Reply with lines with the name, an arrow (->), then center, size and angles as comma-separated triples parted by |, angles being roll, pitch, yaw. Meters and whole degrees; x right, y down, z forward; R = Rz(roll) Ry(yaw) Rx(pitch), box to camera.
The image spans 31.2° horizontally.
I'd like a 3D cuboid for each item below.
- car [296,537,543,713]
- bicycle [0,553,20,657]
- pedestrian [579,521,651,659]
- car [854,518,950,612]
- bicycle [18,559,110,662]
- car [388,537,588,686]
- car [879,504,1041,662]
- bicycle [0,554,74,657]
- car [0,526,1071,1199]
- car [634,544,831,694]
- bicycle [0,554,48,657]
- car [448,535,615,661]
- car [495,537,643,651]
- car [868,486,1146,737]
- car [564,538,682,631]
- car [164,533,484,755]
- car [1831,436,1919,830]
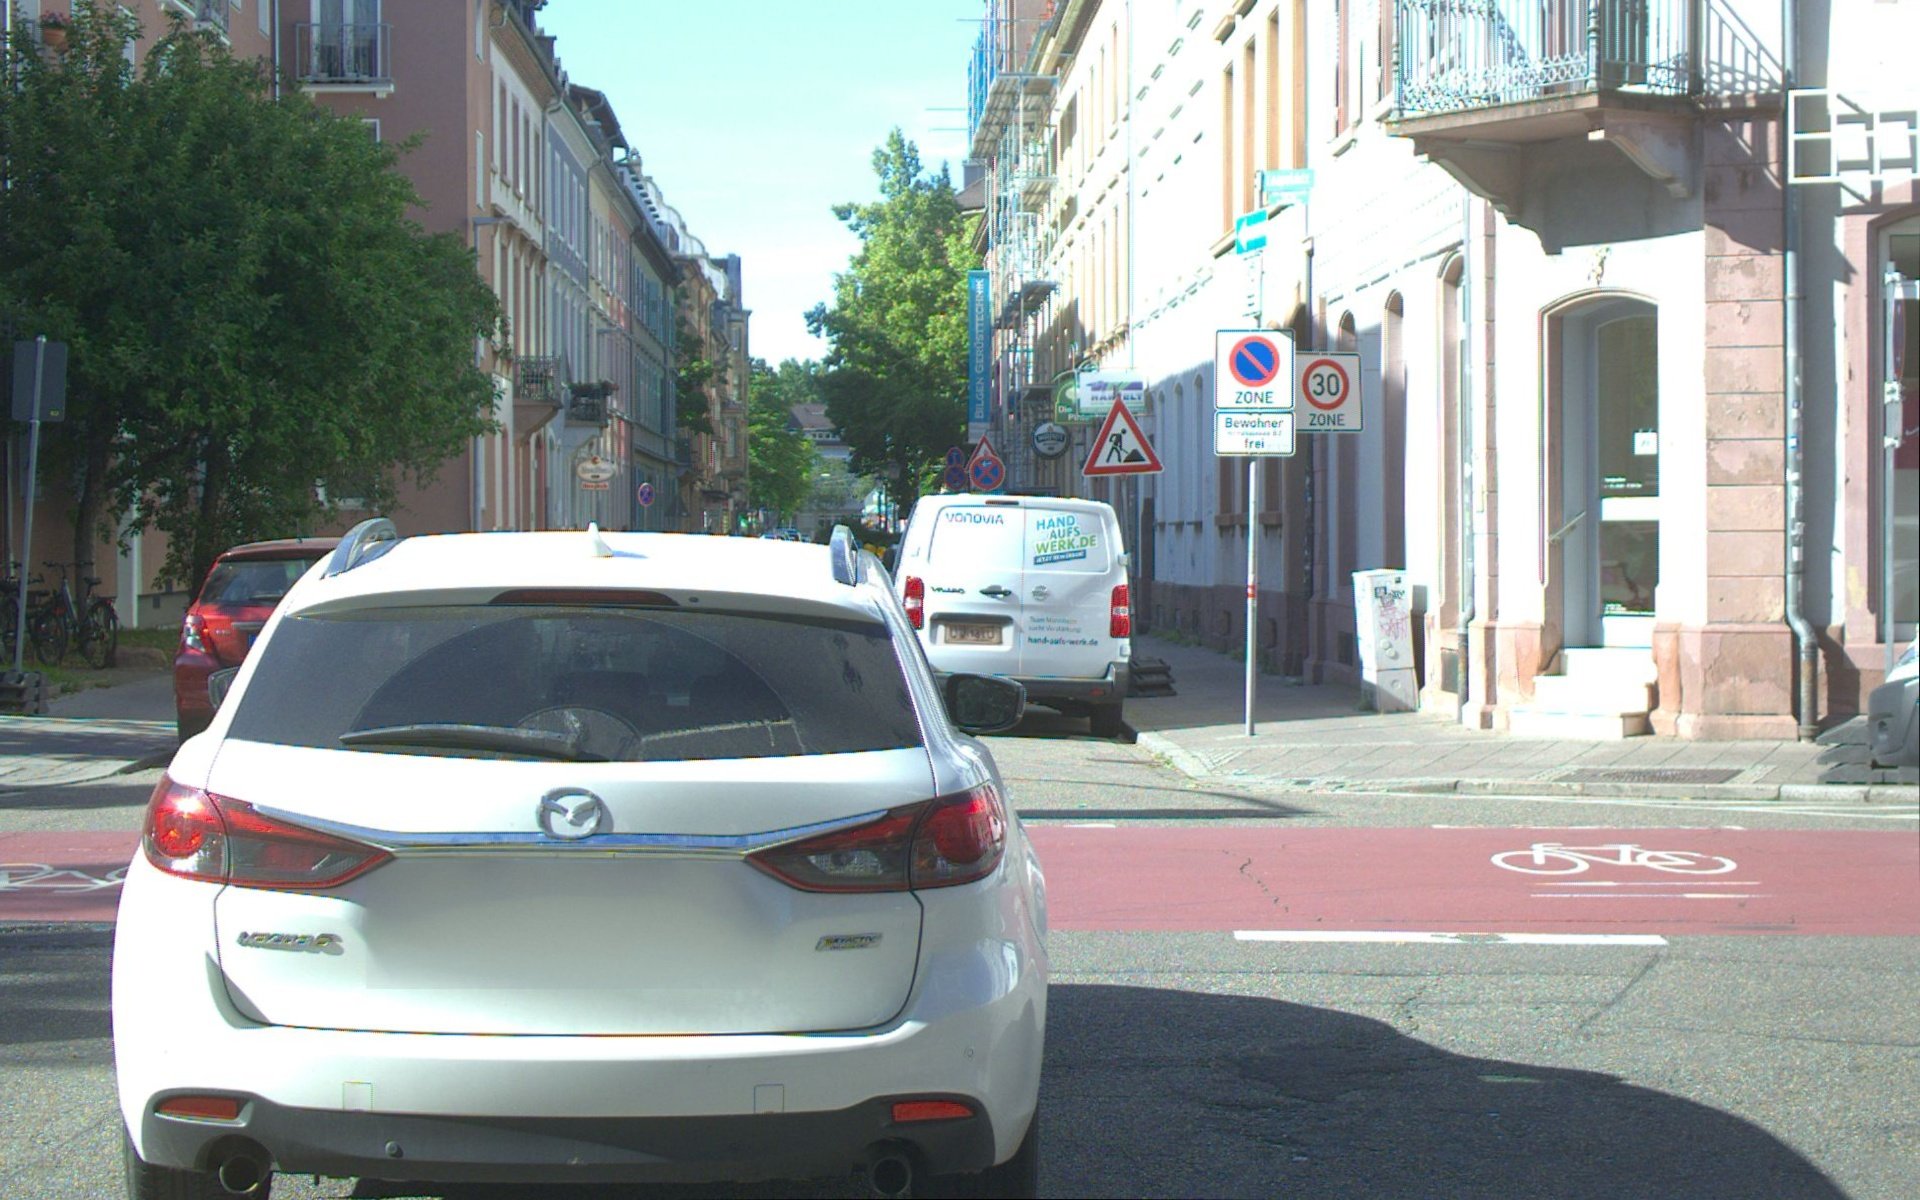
car -> -4.854, 0.173, 31.334 | 1.653, 1.495, 4.080 | 0, 1, -1
bicycle -> -10.285, 0.045, 35.854 | 1.215, 1.068, 0.265 | 1, 1, 38
pedestrian -> -4.092, -0.126, 40.717 | 0.733, 1.608, 0.816 | -1, 1, -13
car -> -1.187, -0.732, 70.121 | 1.894, 1.853, 3.995 | 0, 1, -1
bicycle -> -9.508, 0.106, 36.476 | 1.218, 1.068, 0.253 | 1, 1, 38
car -> -4.935, 0.080, 36.349 | 1.653, 1.495, 3.763 | 0, 1, -1
car -> -0.024, -0.237, 42.332 | 1.894, 1.853, 3.995 | 0, 1, -1
bicycle -> -9.856, 0.054, 36.364 | 1.215, 1.068, 0.253 | 1, 1, 38
car -> -0.759, 0.564, 7.832 | 1.831, 1.452, 3.962 | 0, 1, -1
car -> -2.236, 0.146, 34.694 | 1.760, 1.405, 4.328 | 0, 1, -1
bicycle -> -10.067, 0.051, 36.119 | 1.215, 1.067, 0.253 | 1, 1, 38
car -> -5.276, -0.061, 42.690 | 1.653, 1.495, 3.763 | 0, 1, -1
car -> -5.335, -0.116, 47.303 | 1.653, 1.495, 3.763 | 0, 1, -1
car -> 0.296, 0.039, 28.874 | 1.894, 1.853, 5.015 | 2, 1, -4
car -> -5.621, -0.283, 57.604 | 1.653, 1.495, 3.763 | 0, 1, -1
car -> -4.570, 0.264, 25.170 | 1.685, 1.495, 3.807 | 0, 1, -1
car -> 7.038, 0.171, 17.101 | 5.015, 1.939, 2.049 | 1, 1, 22
